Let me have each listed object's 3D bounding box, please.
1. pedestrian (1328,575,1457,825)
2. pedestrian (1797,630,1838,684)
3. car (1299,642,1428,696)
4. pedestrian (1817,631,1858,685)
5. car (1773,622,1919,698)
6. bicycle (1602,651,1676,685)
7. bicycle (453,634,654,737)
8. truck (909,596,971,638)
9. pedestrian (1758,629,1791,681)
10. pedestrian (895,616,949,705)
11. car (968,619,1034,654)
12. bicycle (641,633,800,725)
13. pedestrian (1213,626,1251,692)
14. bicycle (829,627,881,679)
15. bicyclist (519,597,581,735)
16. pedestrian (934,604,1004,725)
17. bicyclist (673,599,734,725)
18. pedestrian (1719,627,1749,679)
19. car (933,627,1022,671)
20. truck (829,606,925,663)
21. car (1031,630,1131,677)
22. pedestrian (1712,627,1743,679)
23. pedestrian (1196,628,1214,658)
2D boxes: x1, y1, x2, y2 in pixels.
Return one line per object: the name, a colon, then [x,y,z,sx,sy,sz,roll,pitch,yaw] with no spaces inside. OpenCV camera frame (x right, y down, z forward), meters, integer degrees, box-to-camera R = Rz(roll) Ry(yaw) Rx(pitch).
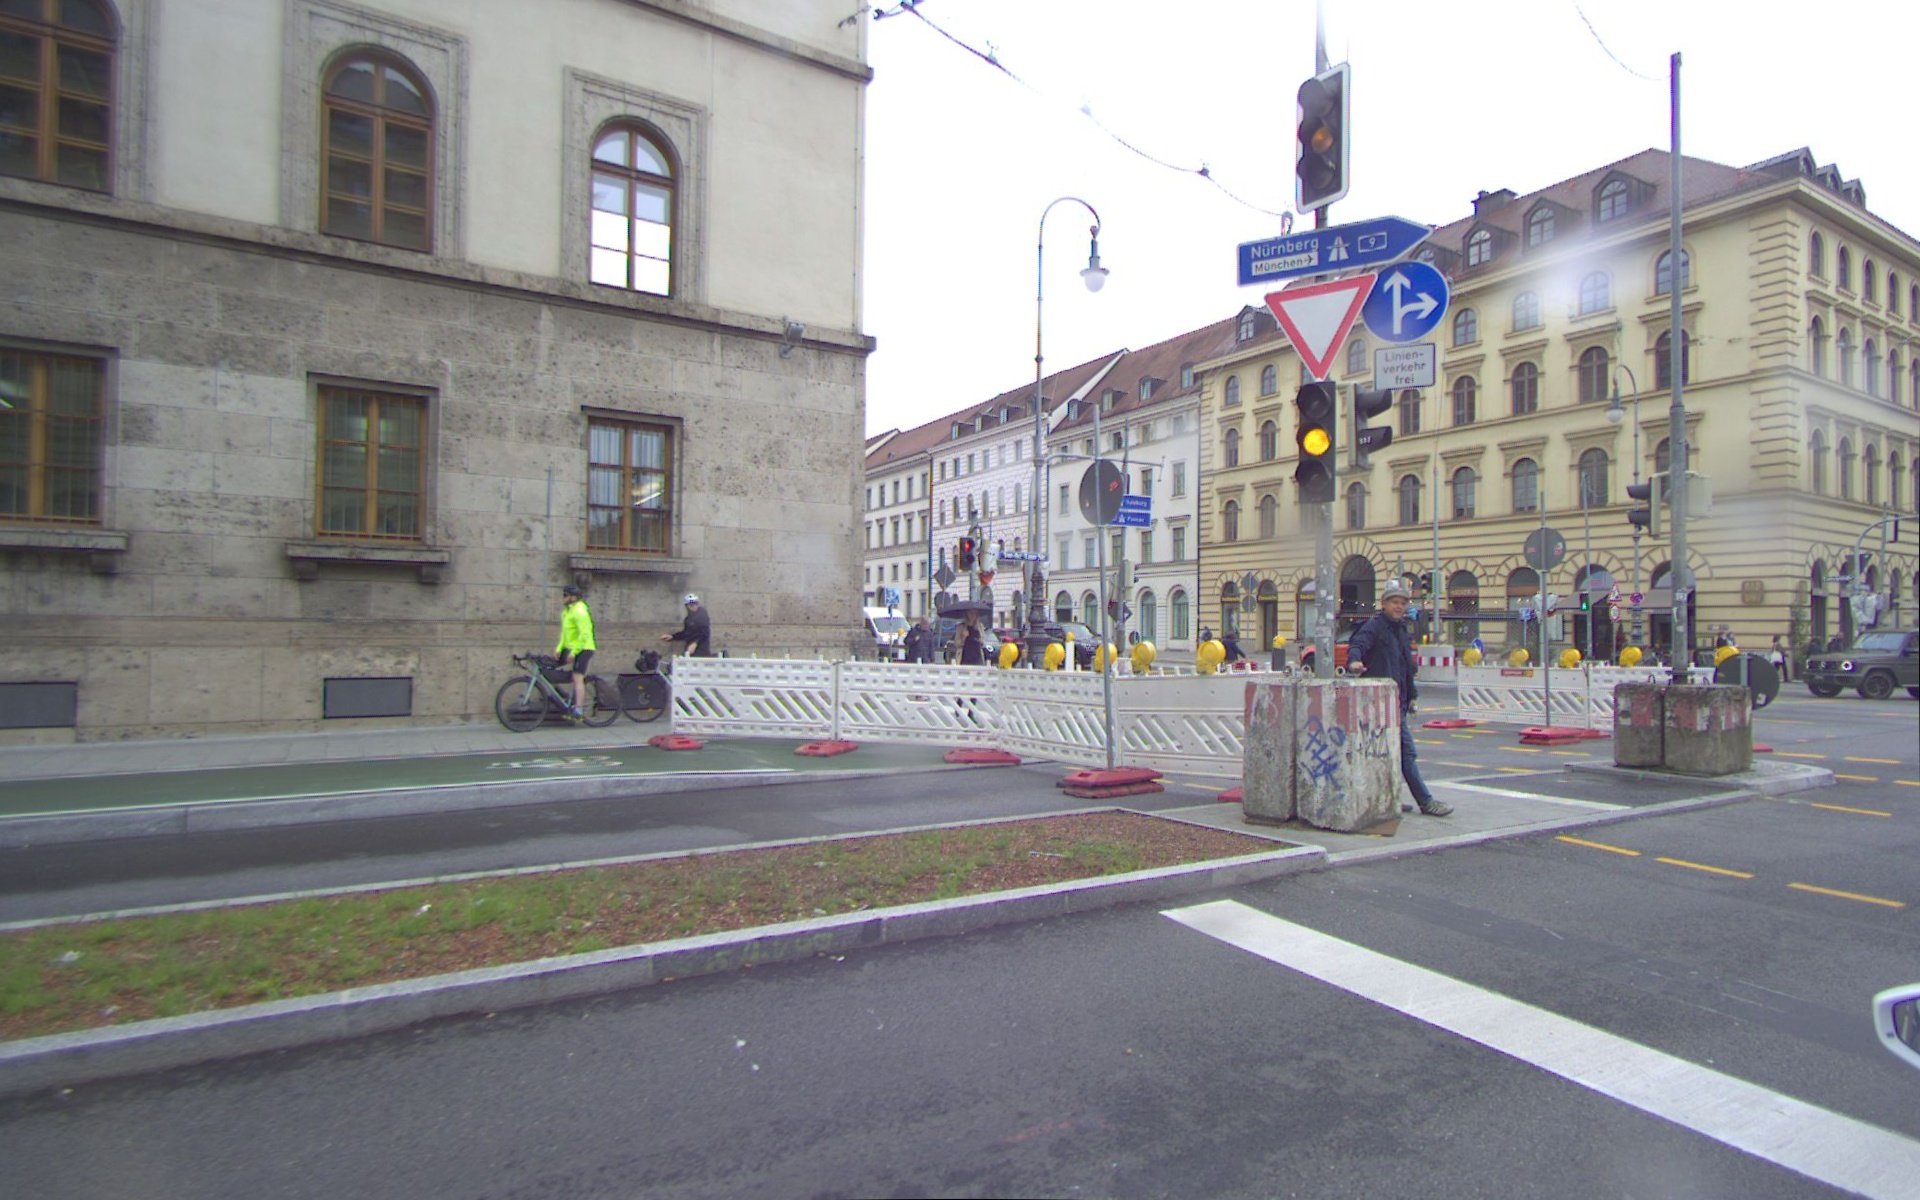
pedestrian: [3.307,0.722,7.658,1.035,1.766,0.508,2,-1,-41]
pedestrian: [29.035,1.929,34.033,0.747,1.795,0.735,1,0,-10]
car: [14.484,2.428,36.216,1.810,1.742,3.951,2,-2,-41]
pedestrian: [29.782,1.952,34.106,0.726,1.795,0.735,1,0,-10]
car: [26.105,1.673,28.432,4.362,2.040,2.245,1,-1,0]
bicycle: [24.074,2.391,35.650,2.163,1.113,0.598,0,-2,35]
bicycle: [-5.415,1.105,13.455,2.417,1.259,0.784,1,0,-27]
truck: [-1.398,1.155,67.776,2.196,2.698,4.745,2,-2,-30]
pedestrian: [29.197,1.956,36.022,0.722,1.795,0.738,1,0,26]
pedestrian: [-0.753,1.170,19.636,0.730,1.676,0.721,4,-3,-28]
car: [2.187,1.997,54.980,1.847,1.822,3.720,2,-2,-32]
bicycle: [-3.556,1.148,14.961,2.170,1.259,0.784,1,0,-27]
pedestrian: [7.669,1.645,28.319,0.727,1.795,0.733,1,0,-29]
bicycle: [-2.745,1.363,26.107,0.378,1.259,1.969,1,0,-36]
bicyclist: [-5.488,0.849,13.416,0.680,1.772,0.795,1,0,-27]
pedestrian: [0.138,0.969,15.511,0.730,1.795,0.840,1,0,-30]
bicyclist: [-3.794,0.888,14.831,0.680,1.799,0.795,1,0,-27]
pedestrian: [27.739,1.889,35.996,0.733,1.795,0.727,1,0,-41]
car: [0.673,1.959,41.185,1.781,1.615,3.965,1,0,-32]
truck: [-3.976,1.574,47.030,2.093,2.513,5.809,1,-2,-32]
car: [4.741,2.088,39.861,1.977,1.706,3.967,1,-2,-31]
pedestrian: [27.146,1.850,35.529,0.733,1.795,0.727,1,0,-41]
pedestrian: [14.767,2.599,60.469,0.731,1.795,0.730,1,-1,-31]
